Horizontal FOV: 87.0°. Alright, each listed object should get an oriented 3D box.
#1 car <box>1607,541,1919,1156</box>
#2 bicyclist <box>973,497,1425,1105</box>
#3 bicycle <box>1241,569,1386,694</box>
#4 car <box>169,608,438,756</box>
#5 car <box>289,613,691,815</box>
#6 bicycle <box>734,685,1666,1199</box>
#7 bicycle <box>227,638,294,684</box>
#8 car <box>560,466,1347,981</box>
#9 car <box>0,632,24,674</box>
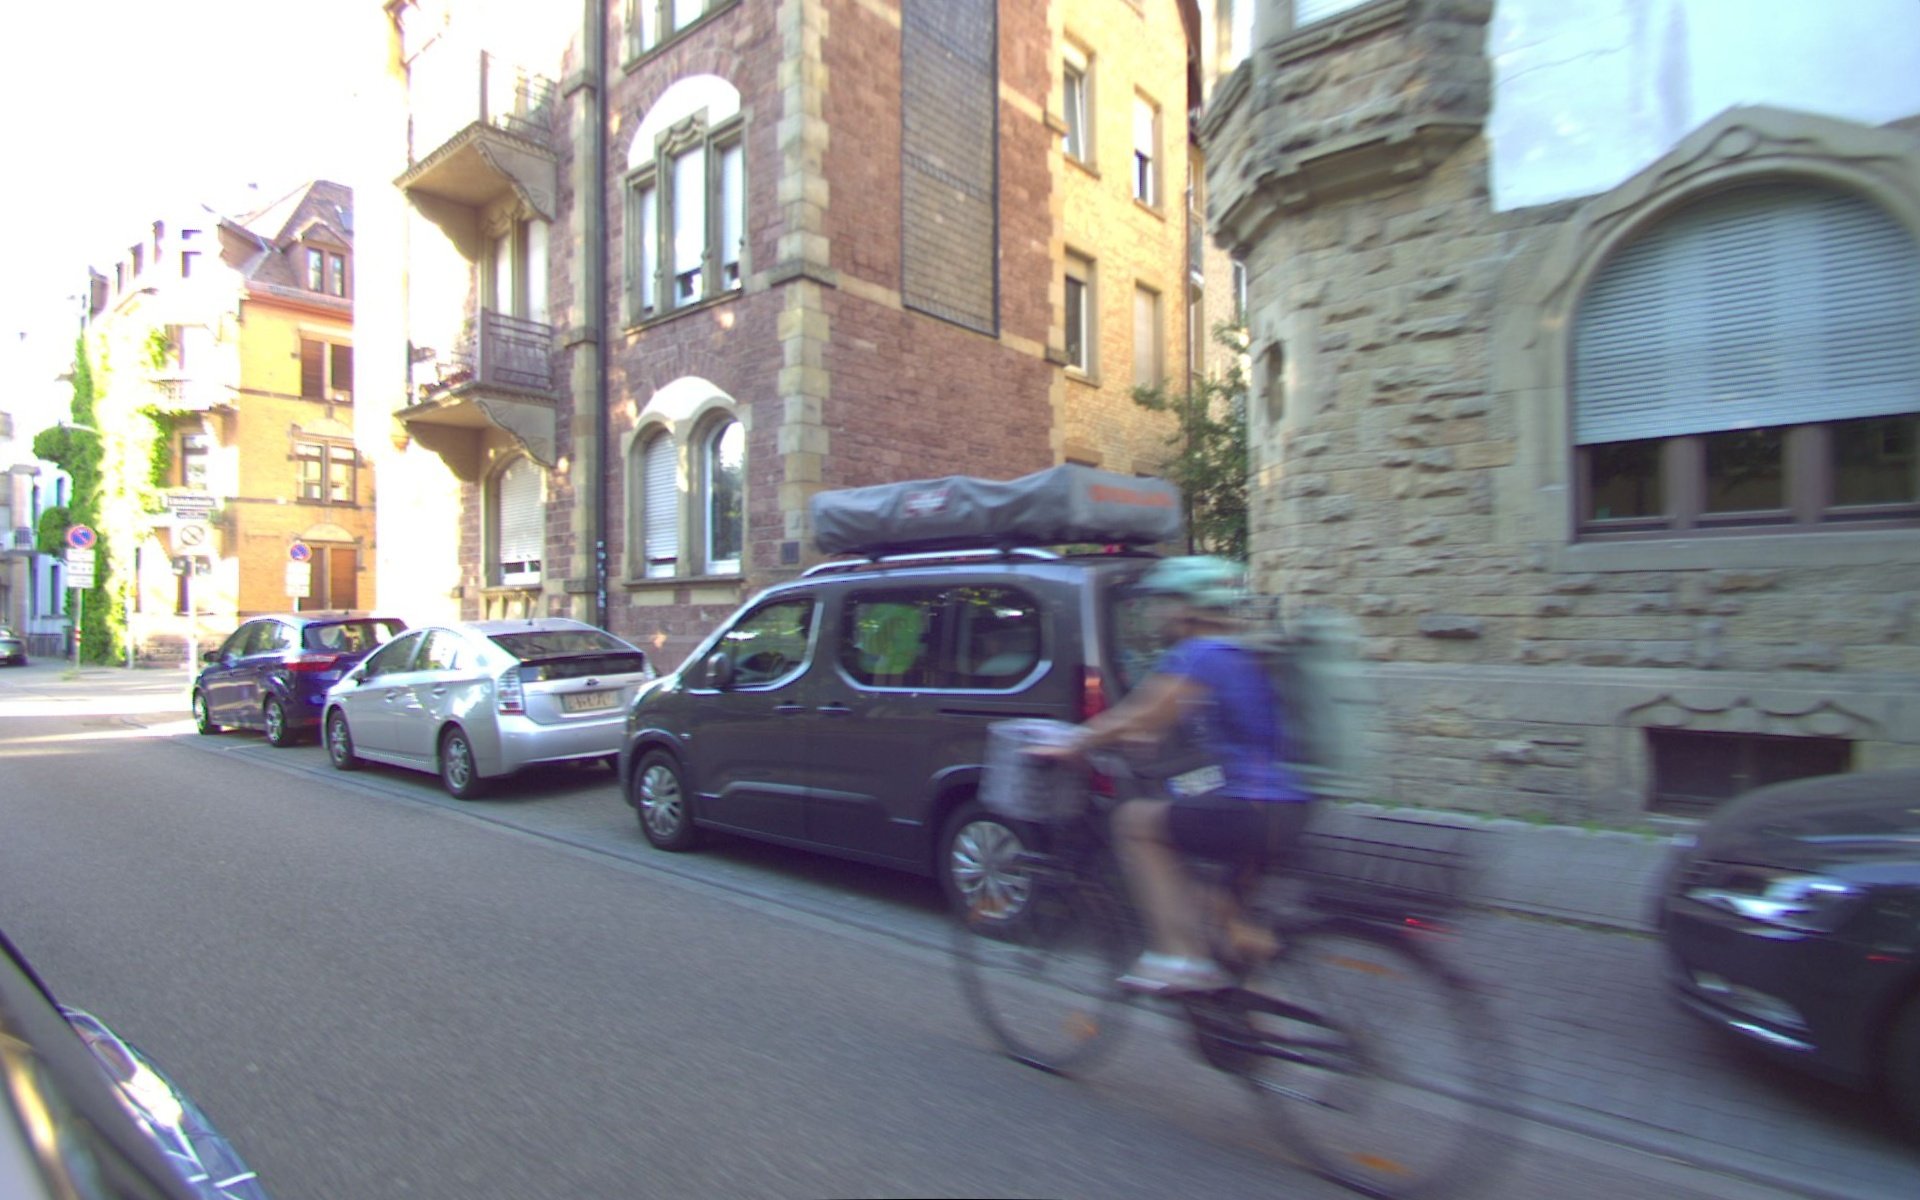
[{"bbox_3d":[4.281,0.646,2.151,4.707,1.586,1.711,0,-1,42],"label":"car"},{"bbox_3d":[0.655,0.468,2.858,1.058,1.355,0.659,-2,-3,37],"label":"bicyclist"},{"bbox_3d":[6.015,0.527,17.238,2.158,2.029,1.019,0,-2,-21],"label":"bicycle"},{"bbox_3d":[-8.761,0.982,13.367,4.253,1.634,1.713,-2,-1,39],"label":"car"},{"bbox_3d":[-4.681,0.930,9.777,4.449,1.510,1.713,-2,-1,39],"label":"car"},{"bbox_3d":[0.481,0.891,3.019,2.616,1.187,0.746,-2,-3,37],"label":"bicycle"},{"bbox_3d":[-20.529,1.766,29.726,1.578,1.278,0.566,0,-2,-41],"label":"bicycle"},{"bbox_3d":[-0.290,0.521,6.089,4.492,1.989,1.950,-2,-1,39],"label":"car"},{"bbox_3d":[-35.298,1.921,36.338,4.921,1.415,1.858,-2,0,40],"label":"car"}]
